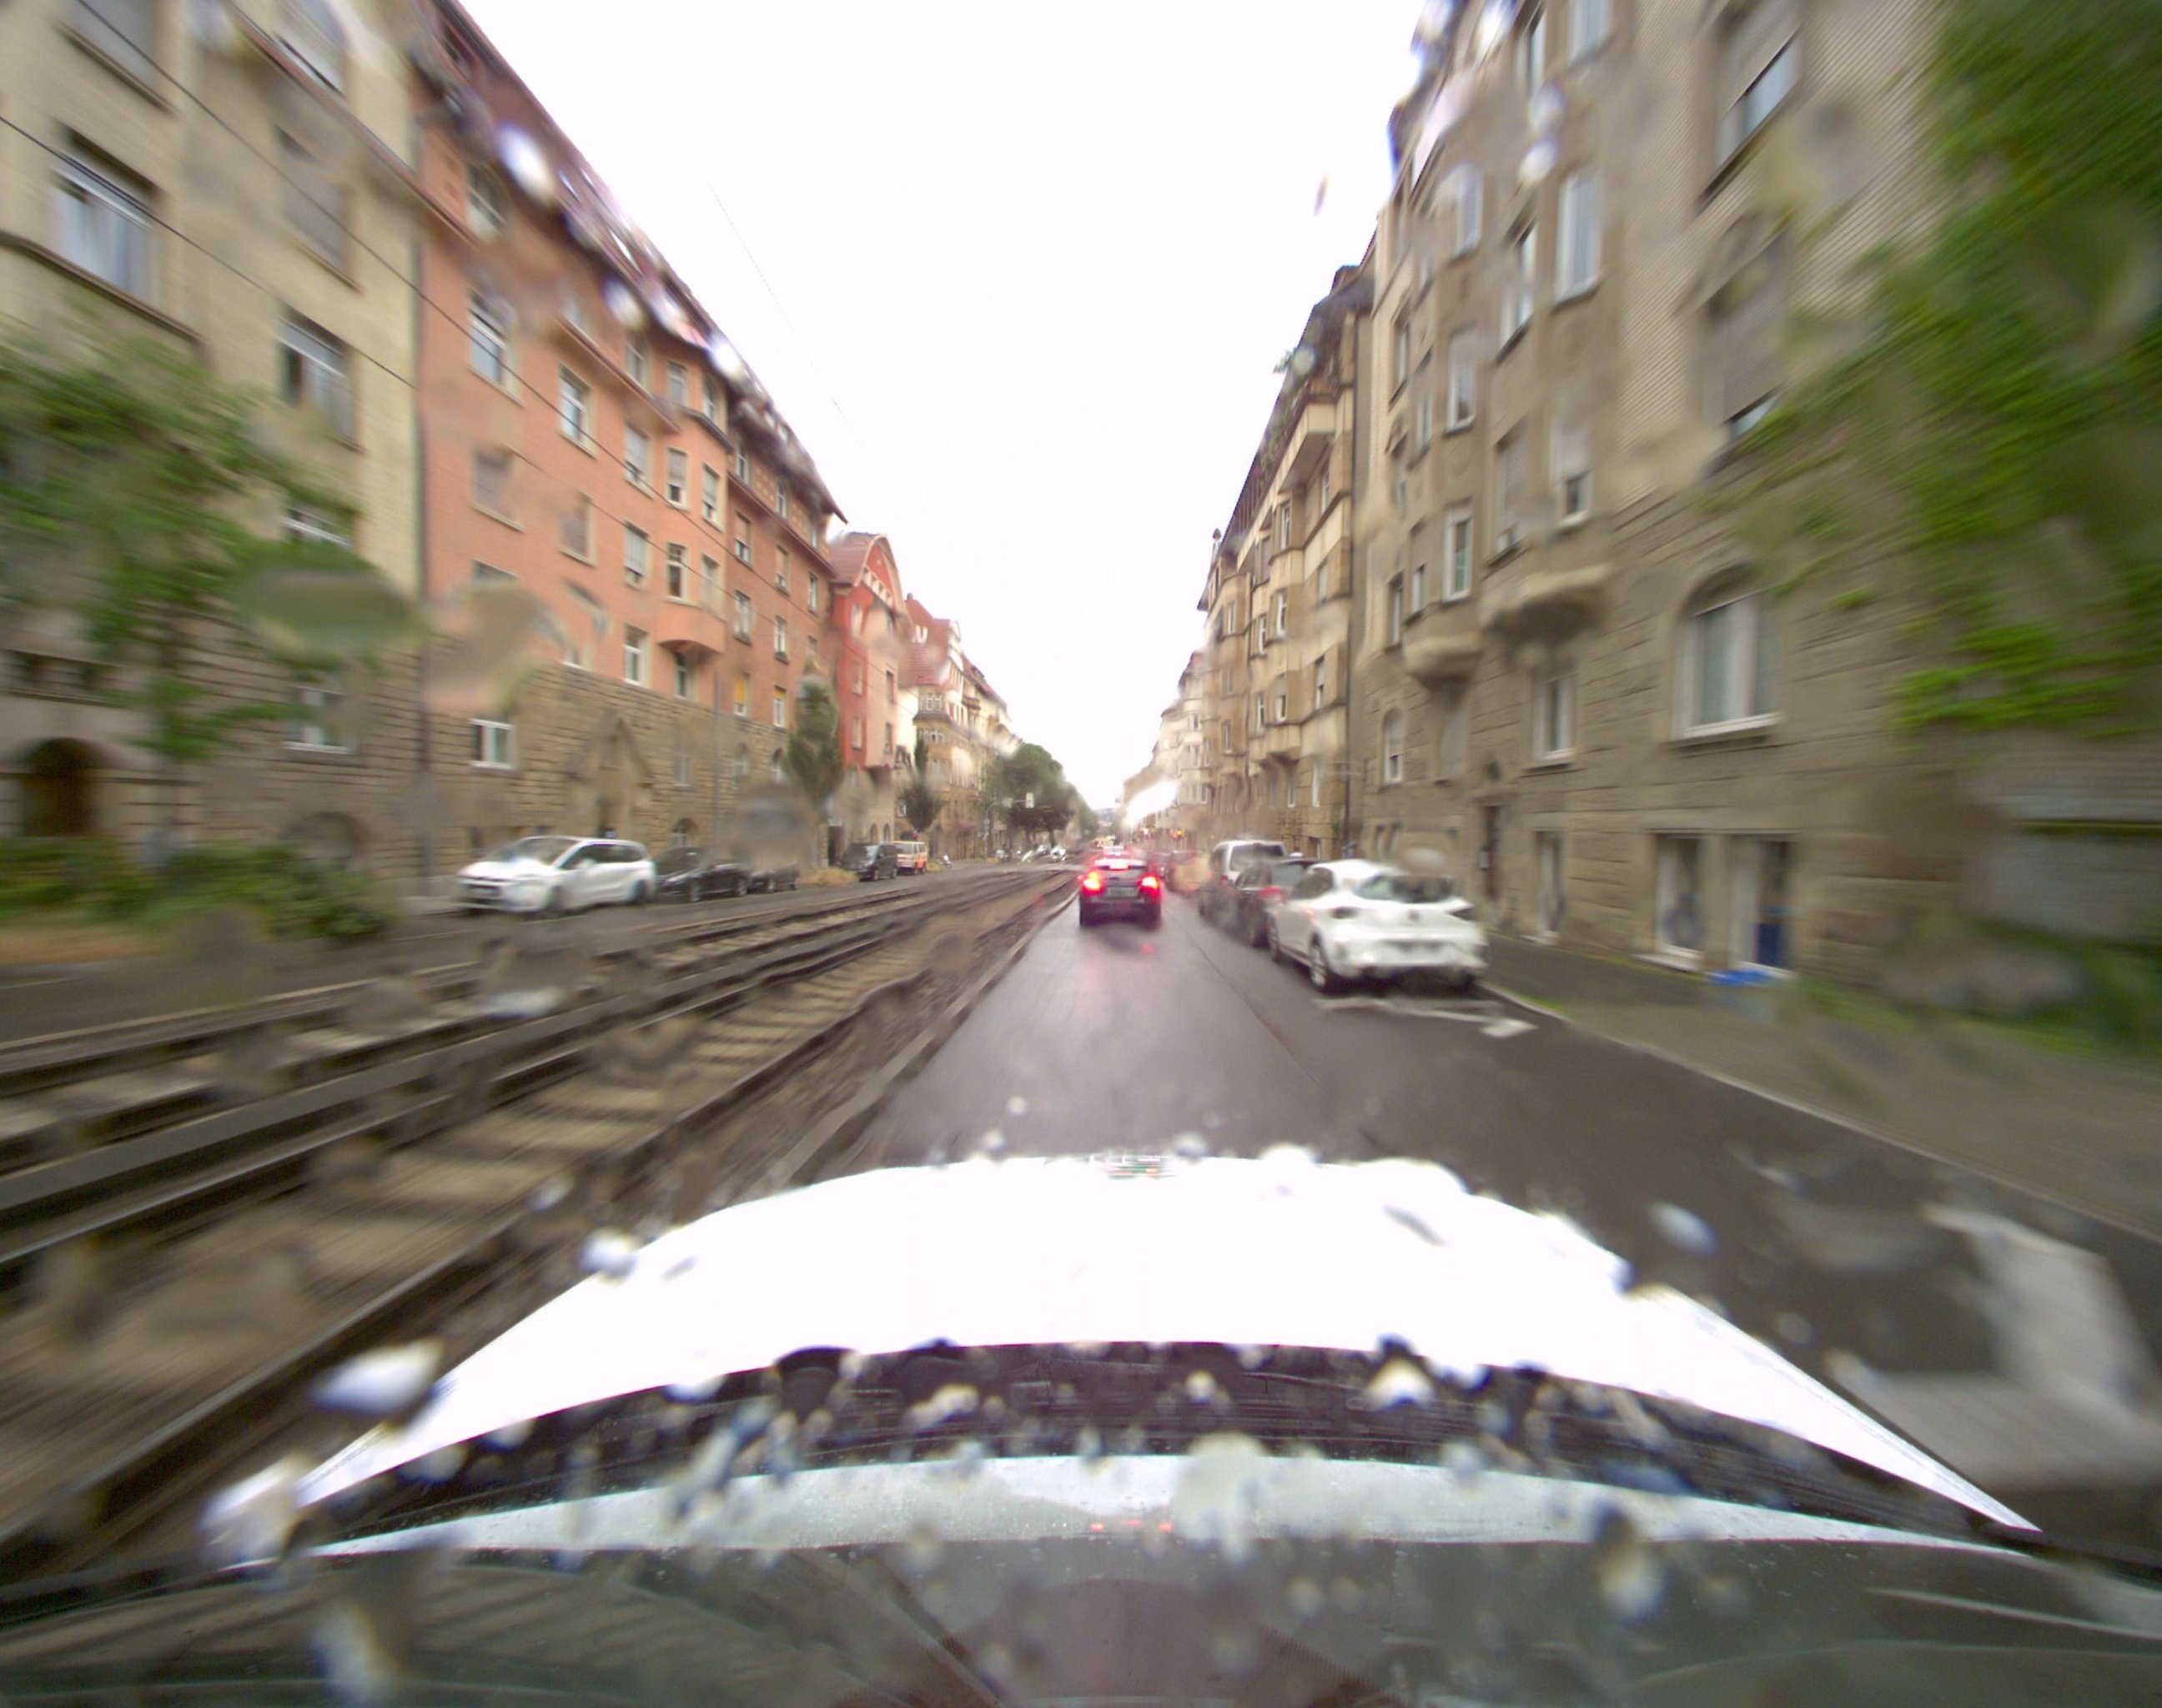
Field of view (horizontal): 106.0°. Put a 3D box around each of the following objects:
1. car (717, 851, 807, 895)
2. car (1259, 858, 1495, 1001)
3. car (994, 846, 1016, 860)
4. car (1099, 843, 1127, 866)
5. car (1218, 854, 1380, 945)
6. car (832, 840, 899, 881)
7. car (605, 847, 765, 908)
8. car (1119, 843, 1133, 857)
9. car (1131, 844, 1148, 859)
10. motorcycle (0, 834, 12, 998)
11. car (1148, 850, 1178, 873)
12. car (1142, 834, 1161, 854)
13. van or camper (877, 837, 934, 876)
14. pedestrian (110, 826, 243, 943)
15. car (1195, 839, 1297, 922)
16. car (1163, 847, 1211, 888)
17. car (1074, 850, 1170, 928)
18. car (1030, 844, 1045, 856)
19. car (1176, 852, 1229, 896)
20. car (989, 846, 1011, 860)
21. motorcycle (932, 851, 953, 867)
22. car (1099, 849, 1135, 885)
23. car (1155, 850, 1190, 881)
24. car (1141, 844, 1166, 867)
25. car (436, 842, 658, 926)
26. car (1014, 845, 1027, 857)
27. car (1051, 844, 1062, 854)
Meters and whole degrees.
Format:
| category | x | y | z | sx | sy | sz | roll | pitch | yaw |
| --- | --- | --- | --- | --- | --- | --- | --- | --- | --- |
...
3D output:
| category | x | y | z | sx | sy | sz | roll | pitch | yaw |
| --- | --- | --- | --- | --- | --- | --- | --- | --- | --- |
| car | -11.082 | 0.608 | 28.552 | 1.637 | 1.398 | 3.883 | 1 | 0 | 0 |
| car | 3.505 | 0.792 | 10.436 | 1.670 | 1.411 | 4.002 | 0 | 1 | 2 |
| car | -8.605 | -0.164 | 92.319 | 1.985 | 1.517 | 4.003 | 1 | 0 | 2 |
| car | 2.365 | -0.007 | 61.212 | 1.915 | 1.655 | 3.999 | 1 | 1 | 0 |
| car | 3.808 | 0.728 | 14.956 | 1.986 | 1.441 | 4.001 | 0 | 0 | 1 |
| car | -10.643 | 0.273 | 40.561 | 1.987 | 1.901 | 4.699 | -1 | 0 | 1 |
| car | -11.249 | 0.583 | 23.630 | 1.985 | 1.509 | 4.978 | 2 | 1 | 3 |
| car | 6.117 | -0.504 | 111.442 | 1.845 | 1.797 | 3.814 | 0 | -1 | 3 |
| car | 7.125 | -0.272 | 99.634 | 1.763 | 1.776 | 3.997 | 0 | -1 | -1 |
| motorcycle | -11.778 | 0.620 | 7.329 | 2.263 | 1.642 | 1.286 | 0 | 0 | -15 |
| car | 5.116 | 0.442 | 51.230 | 1.596 | 1.419 | 3.149 | 0 | 1 | 1 |
| car | 7.583 | -1.096 | 88.111 | 1.891 | 2.028 | 4.179 | 0 | -1 | 3 |
| van or camper | -10.291 | 0.131 | 48.255 | 1.988 | 1.900 | 4.699 | -11 | 0 | 1 |
| pedestrian | -14.210 | 0.460 | 12.829 | 1.003 | 1.753 | 0.925 | -1 | 1 | 2 |
| car | 3.857 | 0.543 | 19.704 | 1.767 | 1.776 | 4.363 | 0 | 1 | 2 |
| car | 4.408 | 0.523 | 34.319 | 1.703 | 1.628 | 4.004 | 1 | 0 | 3 |
| car | 0.873 | 0.712 | 18.295 | 1.939 | 1.564 | 3.643 | 0 | 0 | 1 |
| car | -7.001 | -0.631 | 130.510 | 1.985 | 1.794 | 4.003 | 1 | 0 | 2 |
| car | 4.399 | 0.693 | 29.835 | 1.552 | 1.478 | 3.463 | 1 | 0 | 3 |
| car | -8.675 | -0.079 | 86.993 | 1.764 | 1.464 | 4.003 | 0 | 0 | 3 |
| motorcycle | -10.005 | 0.343 | 58.744 | 1.423 | 1.134 | 0.624 | 1 | 0 | 32 |
| car | 1.670 | 0.564 | 37.558 | 1.529 | 1.510 | 4.003 | 1 | 1 | 3 |
| car | 4.902 | 0.570 | 44.056 | 1.631 | 1.542 | 3.468 | 2 | 1 | 3 |
| car | 4.990 | 0.086 | 56.335 | 1.543 | 1.508 | 4.003 | 1 | 0 | 3 |
| car | -11.374 | 0.549 | 17.791 | 1.777 | 1.589 | 4.354 | -1 | 1 | 3 |
| car | -8.360 | -0.420 | 113.262 | 1.786 | 1.691 | 3.995 | 0 | 0 | -3 |
| car | -3.919 | -0.852 | 130.843 | 1.790 | 1.548 | 3.998 | 0 | 0 | -1 |
